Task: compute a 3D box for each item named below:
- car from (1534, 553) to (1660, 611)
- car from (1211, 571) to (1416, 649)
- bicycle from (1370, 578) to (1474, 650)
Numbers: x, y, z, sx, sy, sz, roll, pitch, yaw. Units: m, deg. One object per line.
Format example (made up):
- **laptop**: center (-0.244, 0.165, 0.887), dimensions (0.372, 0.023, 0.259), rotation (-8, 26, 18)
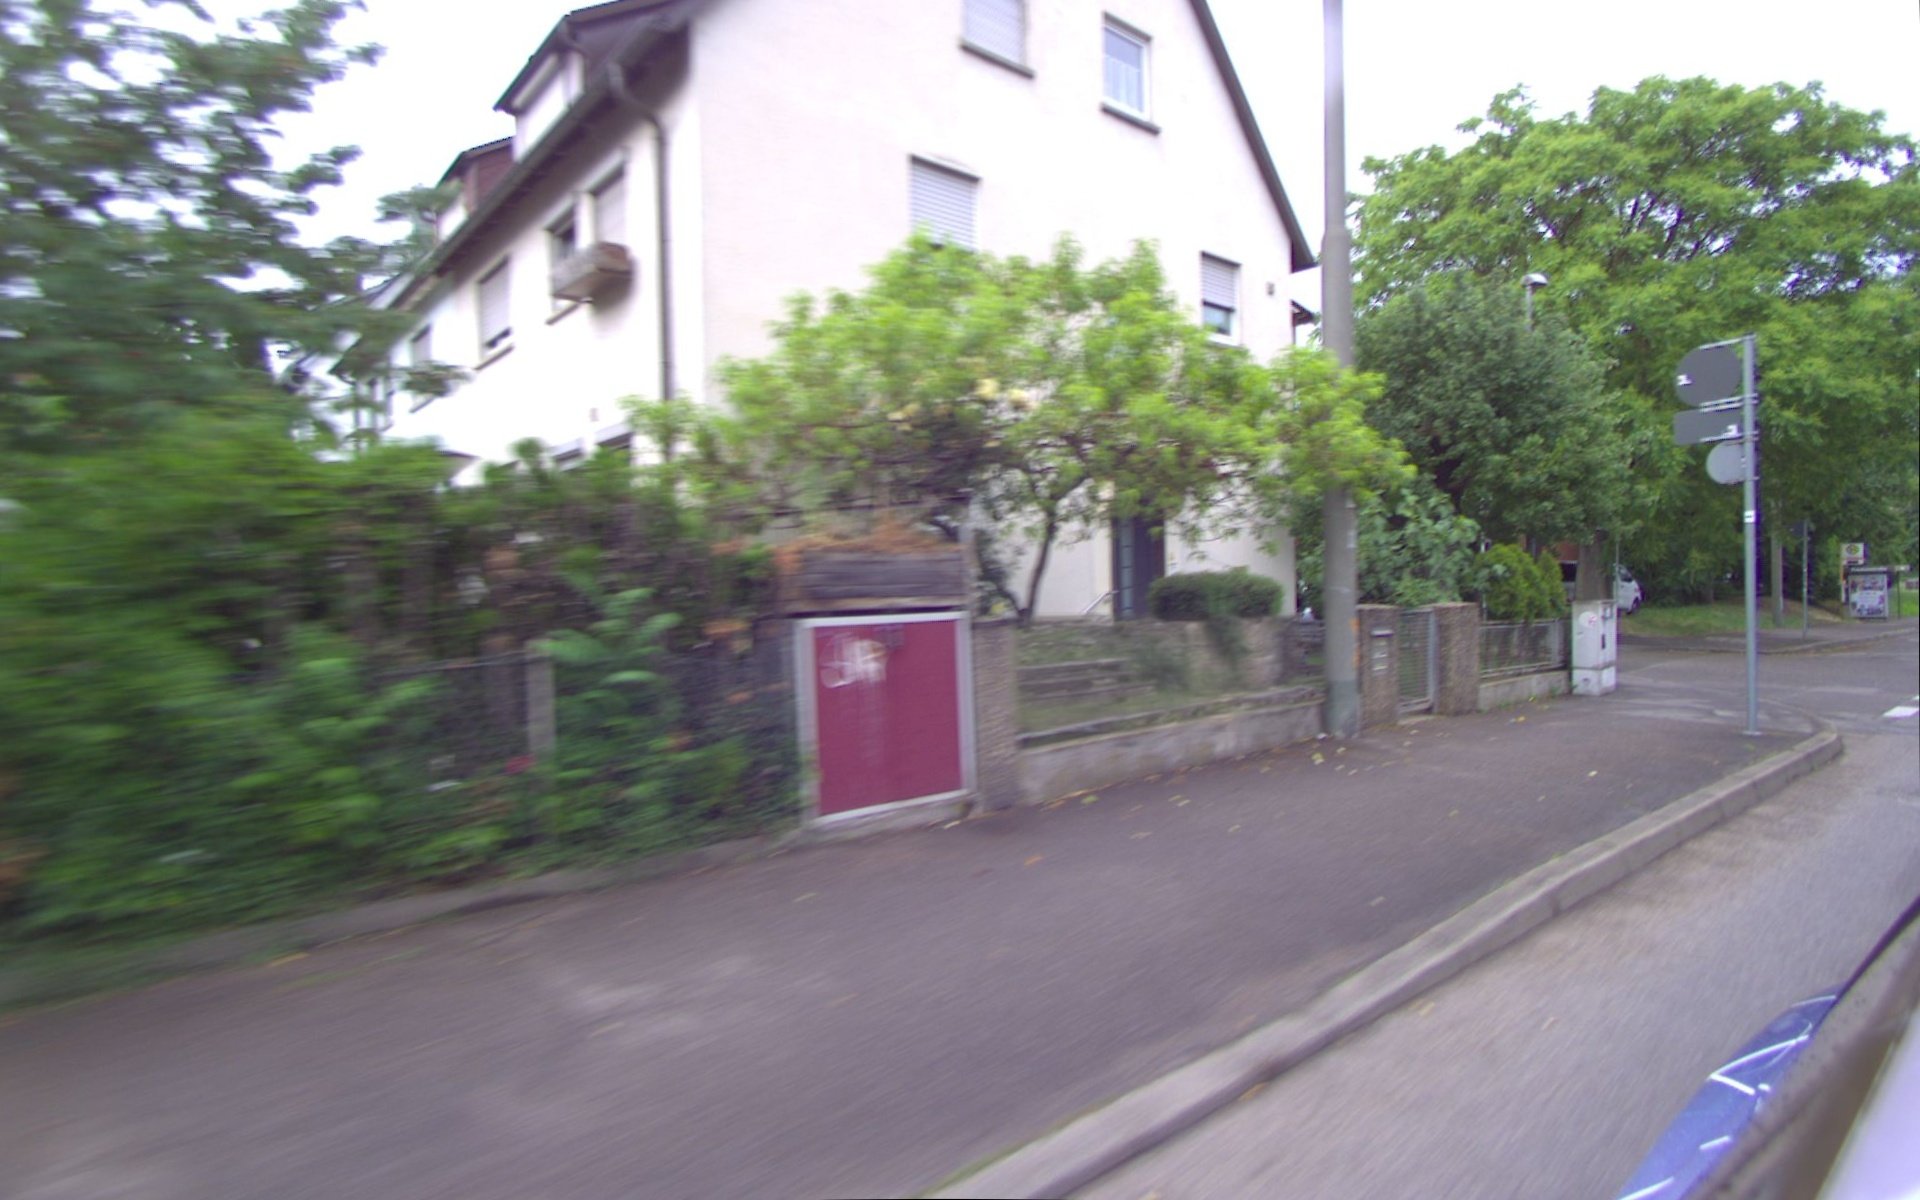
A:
- **car**: center (21.700, -0.585, 34.398), dimensions (5.052, 1.828, 1.998), rotation (0, 0, -38)
- **car**: center (7.768, 0.138, 22.525), dimensions (1.676, 1.440, 3.993), rotation (-2, 4, -42)
- **bicycle**: center (7.851, 0.221, 17.256), dimensions (0.449, 1.128, 1.576), rotation (1, 2, -36)
